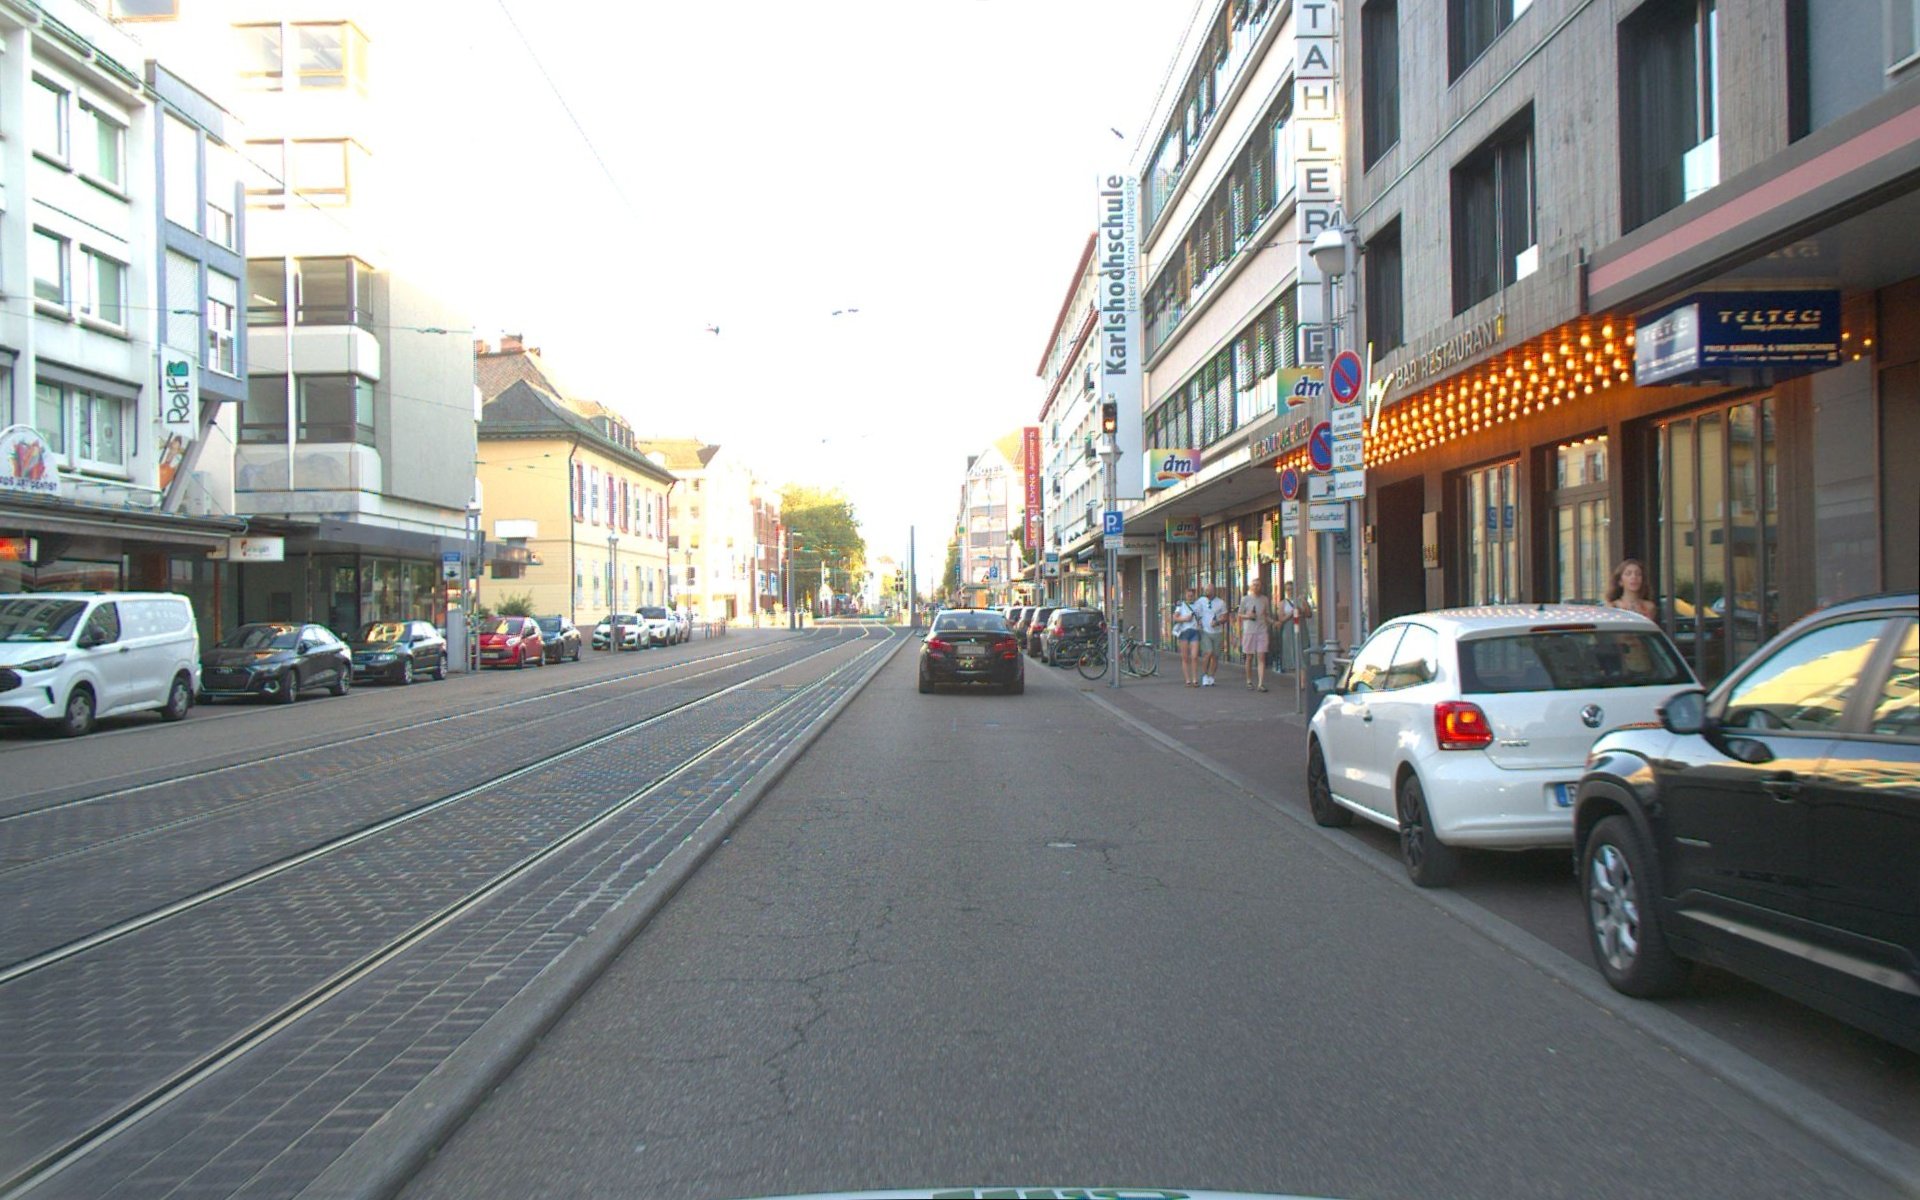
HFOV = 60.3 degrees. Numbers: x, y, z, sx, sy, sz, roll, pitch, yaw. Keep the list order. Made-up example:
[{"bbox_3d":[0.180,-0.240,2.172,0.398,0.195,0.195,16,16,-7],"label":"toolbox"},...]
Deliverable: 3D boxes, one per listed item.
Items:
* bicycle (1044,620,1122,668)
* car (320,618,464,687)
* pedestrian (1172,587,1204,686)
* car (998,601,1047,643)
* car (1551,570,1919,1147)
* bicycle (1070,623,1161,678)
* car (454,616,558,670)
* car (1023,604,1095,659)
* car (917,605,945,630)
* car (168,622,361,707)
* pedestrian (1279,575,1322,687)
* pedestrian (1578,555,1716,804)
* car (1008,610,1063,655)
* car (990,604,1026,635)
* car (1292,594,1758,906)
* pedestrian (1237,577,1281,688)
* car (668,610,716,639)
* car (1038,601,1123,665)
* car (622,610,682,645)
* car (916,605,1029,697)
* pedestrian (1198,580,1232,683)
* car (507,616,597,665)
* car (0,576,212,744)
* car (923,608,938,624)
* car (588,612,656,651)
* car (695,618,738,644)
[{"bbox_3d":[2.956,1.066,39.765,1.823,1.139,0.468,0,-2,0],"label":"bicycle"},{"bbox_3d":[-13.061,1.174,38.313,1.889,1.460,4.245,0,0,-1],"label":"car"},{"bbox_3d":[4.077,0.642,29.578,0.465,1.729,0.752,-1,0,3],"label":"pedestrian"},{"bbox_3d":[2.424,0.848,64.584,1.738,1.576,3.502,0,-1,-1],"label":"car"},{"bbox_3d":[3.379,0.675,5.096,1.621,1.564,3.884,-2,0,-1],"label":"car"},{"bbox_3d":[3.180,1.037,33.959,1.823,1.099,0.468,0,-2,0],"label":"bicycle"},{"bbox_3d":[-13.216,1.227,48.366,1.889,1.460,4.245,0,0,-1],"label":"car"},{"bbox_3d":[2.946,0.959,49.822,1.864,1.576,3.779,0,-1,-1],"label":"car"},{"bbox_3d":[-1.861,1.150,106.679,1.738,1.576,3.502,0,-1,-1],"label":"car"},{"bbox_3d":[-13.098,1.178,31.452,1.889,1.460,4.245,0,0,-1],"label":"car"},{"bbox_3d":[5.660,0.511,27.517,0.497,1.824,0.760,-1,0,-1],"label":"pedestrian"},{"bbox_3d":[4.799,0.538,11.593,0.546,1.676,0.758,-1,0,-9],"label":"pedestrian"},{"bbox_3d":[2.667,1.150,59.252,1.738,1.576,3.502,0,-1,-1],"label":"car"},{"bbox_3d":[2.457,1.012,85.409,1.738,1.576,3.502,0,-1,-1],"label":"car"},{"bbox_3d":[3.180,0.745,10.073,1.527,1.467,3.709,-3,0,0],"label":"car"},{"bbox_3d":[5.003,0.541,27.698,0.542,1.823,0.759,-1,0,-1],"label":"pedestrian"},{"bbox_3d":[-14.046,1.280,86.875,1.889,1.460,4.245,0,0,-1],"label":"car"},{"bbox_3d":[3.087,0.846,43.150,1.864,1.576,3.999,0,-1,-1],"label":"car"},{"bbox_3d":[-13.565,1.196,72.975,1.889,1.460,4.245,0,0,-1],"label":"car"},{"bbox_3d":[0.236,0.876,30.348,1.913,1.524,4.465,0,0,1],"label":"car"},{"bbox_3d":[4.556,0.557,29.571,0.478,1.821,0.760,-1,0,3],"label":"pedestrian"},{"bbox_3d":[-13.132,1.280,53.439,1.889,1.460,4.245,0,0,-1],"label":"car"},{"bbox_3d":[-12.943,0.806,24.175,1.954,2.194,4.908,-1,0,-3],"label":"car"},{"bbox_3d":[-3.932,2.092,217.569,1.953,1.870,3.998,0,-3,-1],"label":"car"},{"bbox_3d":[-13.605,1.247,66.843,1.889,1.460,4.245,-1,0,-1],"label":"car"},{"bbox_3d":[-14.121,1.797,96.216,1.889,1.460,4.245,0,0,-1],"label":"car"}]
